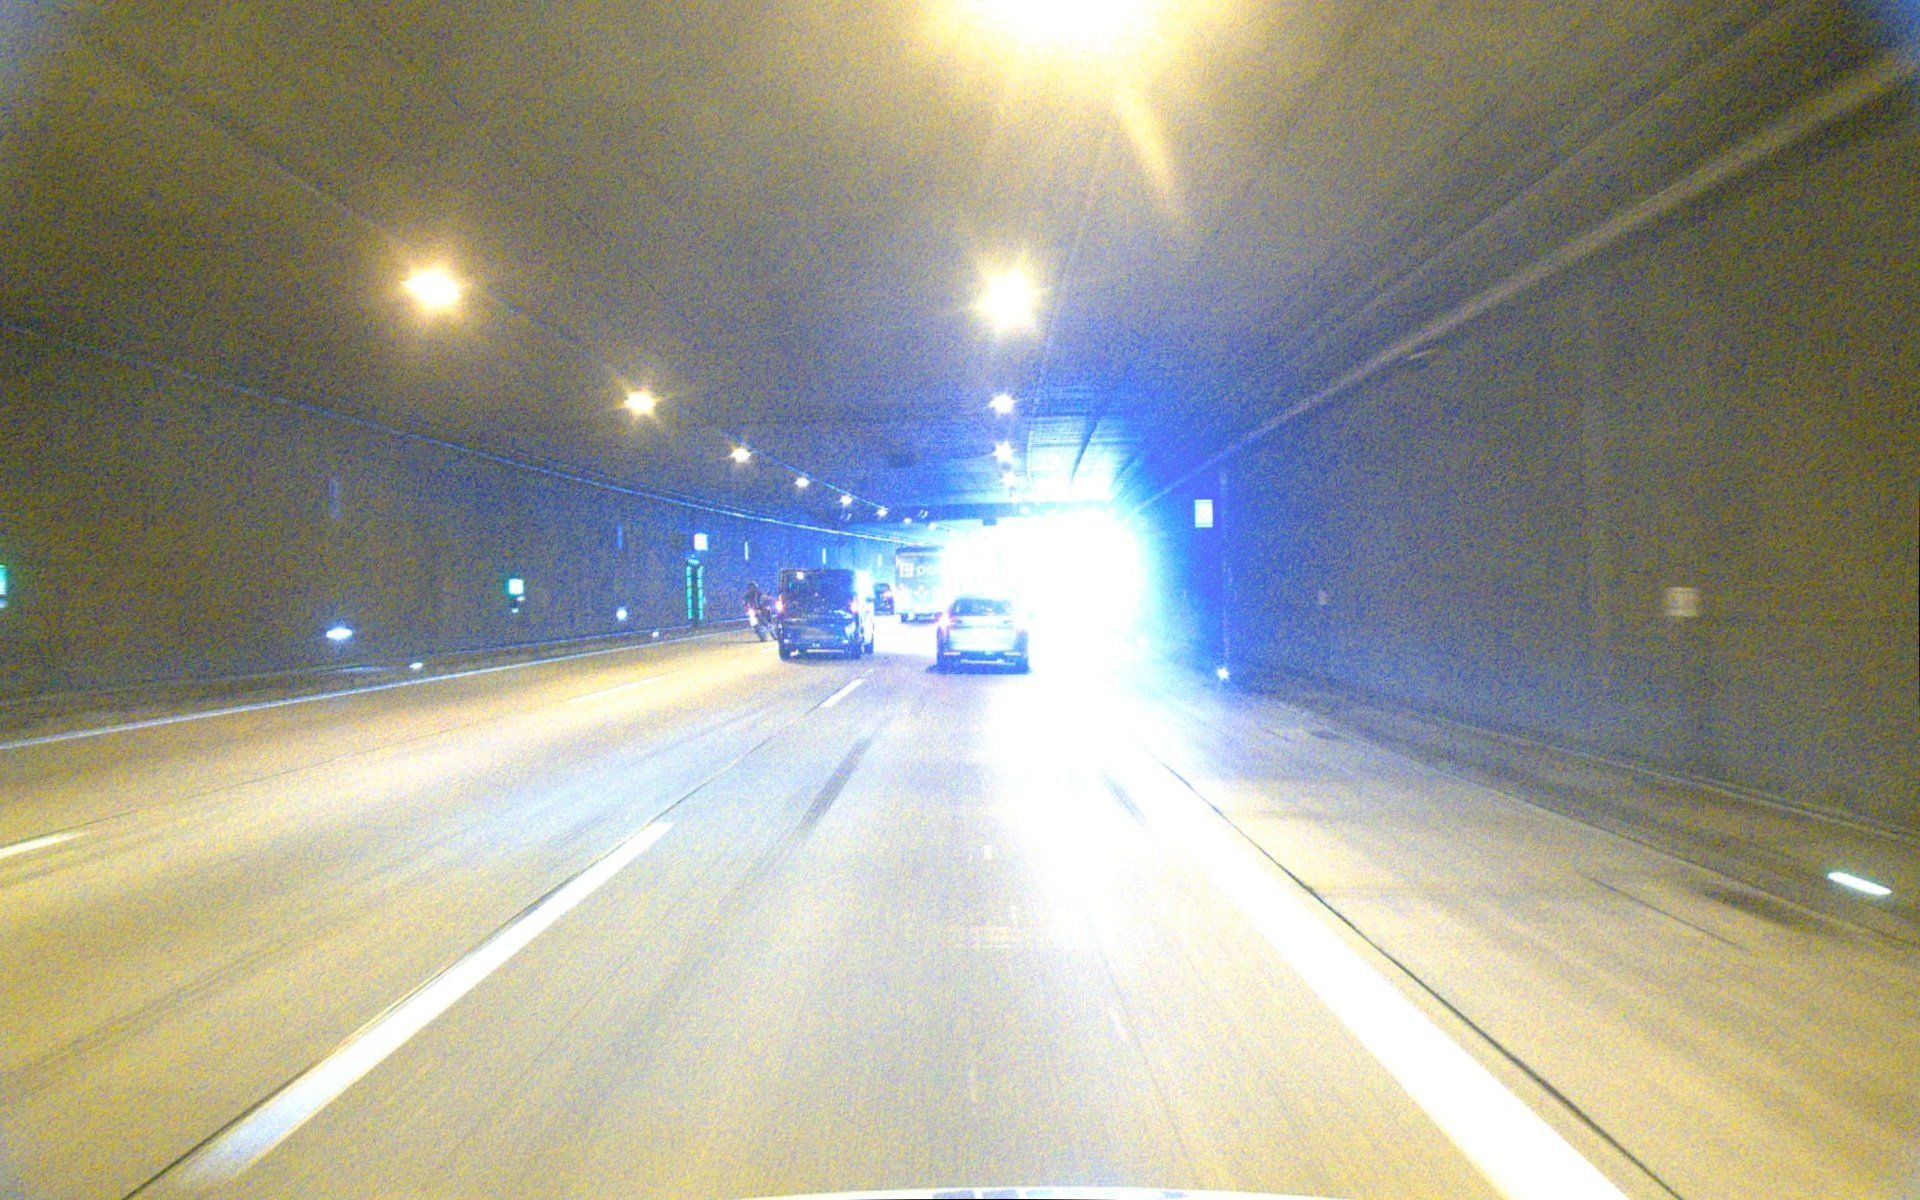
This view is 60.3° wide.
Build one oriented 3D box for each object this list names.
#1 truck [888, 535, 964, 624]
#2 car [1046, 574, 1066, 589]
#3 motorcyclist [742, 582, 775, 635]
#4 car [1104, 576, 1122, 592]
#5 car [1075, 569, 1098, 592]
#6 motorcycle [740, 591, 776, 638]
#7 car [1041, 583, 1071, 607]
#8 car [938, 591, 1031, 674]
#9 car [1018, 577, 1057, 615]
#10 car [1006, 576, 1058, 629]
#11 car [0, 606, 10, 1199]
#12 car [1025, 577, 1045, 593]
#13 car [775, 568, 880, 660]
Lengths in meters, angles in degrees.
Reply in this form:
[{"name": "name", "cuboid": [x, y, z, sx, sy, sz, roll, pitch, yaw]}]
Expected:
[{"name": "truck", "cuboid": [-1.409, -0.870, 73.042, 2.976, 3.737, 7.394, 0, 0, 2]}, {"name": "car", "cuboid": [11.304, -2.186, 194.683, 1.889, 1.671, 4.003, 0, -2, 9]}, {"name": "motorcyclist", "cuboid": [-5.716, 0.251, 46.943, 0.761, 1.478, 1.069, 0, -2, 2]}, {"name": "car", "cuboid": [17.143, -1.778, 185.469, 1.889, 1.671, 4.003, 0, 0, 7]}, {"name": "car", "cuboid": [11.736, -1.792, 153.303, 1.952, 2.049, 4.000, 0, -2, 2]}, {"name": "motorcycle", "cuboid": [-5.720, 0.425, 46.926, 0.668, 1.320, 2.399, 0, -1, 1]}, {"name": "car", "cuboid": [7.274, -0.367, 125.130, 1.892, 1.671, 3.998, 0, -2, -2]}, {"name": "car", "cuboid": [0.494, 0.592, 32.411, 1.706, 1.489, 3.872, 0, 1, 1]}, {"name": "car", "cuboid": [3.955, -0.160, 84.275, 1.909, 1.803, 4.001, 0, -2, 4]}, {"name": "car", "cuboid": [2.638, 0.083, 60.328, 1.818, 1.887, 4.001, 0, 0, 3]}, {"name": "car", "cuboid": [-3.080, 0.742, 1.428, 1.667, 1.444, 5.059, 0, 0, -1]}, {"name": "car", "cuboid": [8.016, -1.593, 177.163, 1.889, 1.671, 4.003, 0, 0, 6]}, {"name": "car", "cuboid": [-2.947, 0.272, 37.422, 1.870, 1.978, 3.873, 0, 1, 3]}]
